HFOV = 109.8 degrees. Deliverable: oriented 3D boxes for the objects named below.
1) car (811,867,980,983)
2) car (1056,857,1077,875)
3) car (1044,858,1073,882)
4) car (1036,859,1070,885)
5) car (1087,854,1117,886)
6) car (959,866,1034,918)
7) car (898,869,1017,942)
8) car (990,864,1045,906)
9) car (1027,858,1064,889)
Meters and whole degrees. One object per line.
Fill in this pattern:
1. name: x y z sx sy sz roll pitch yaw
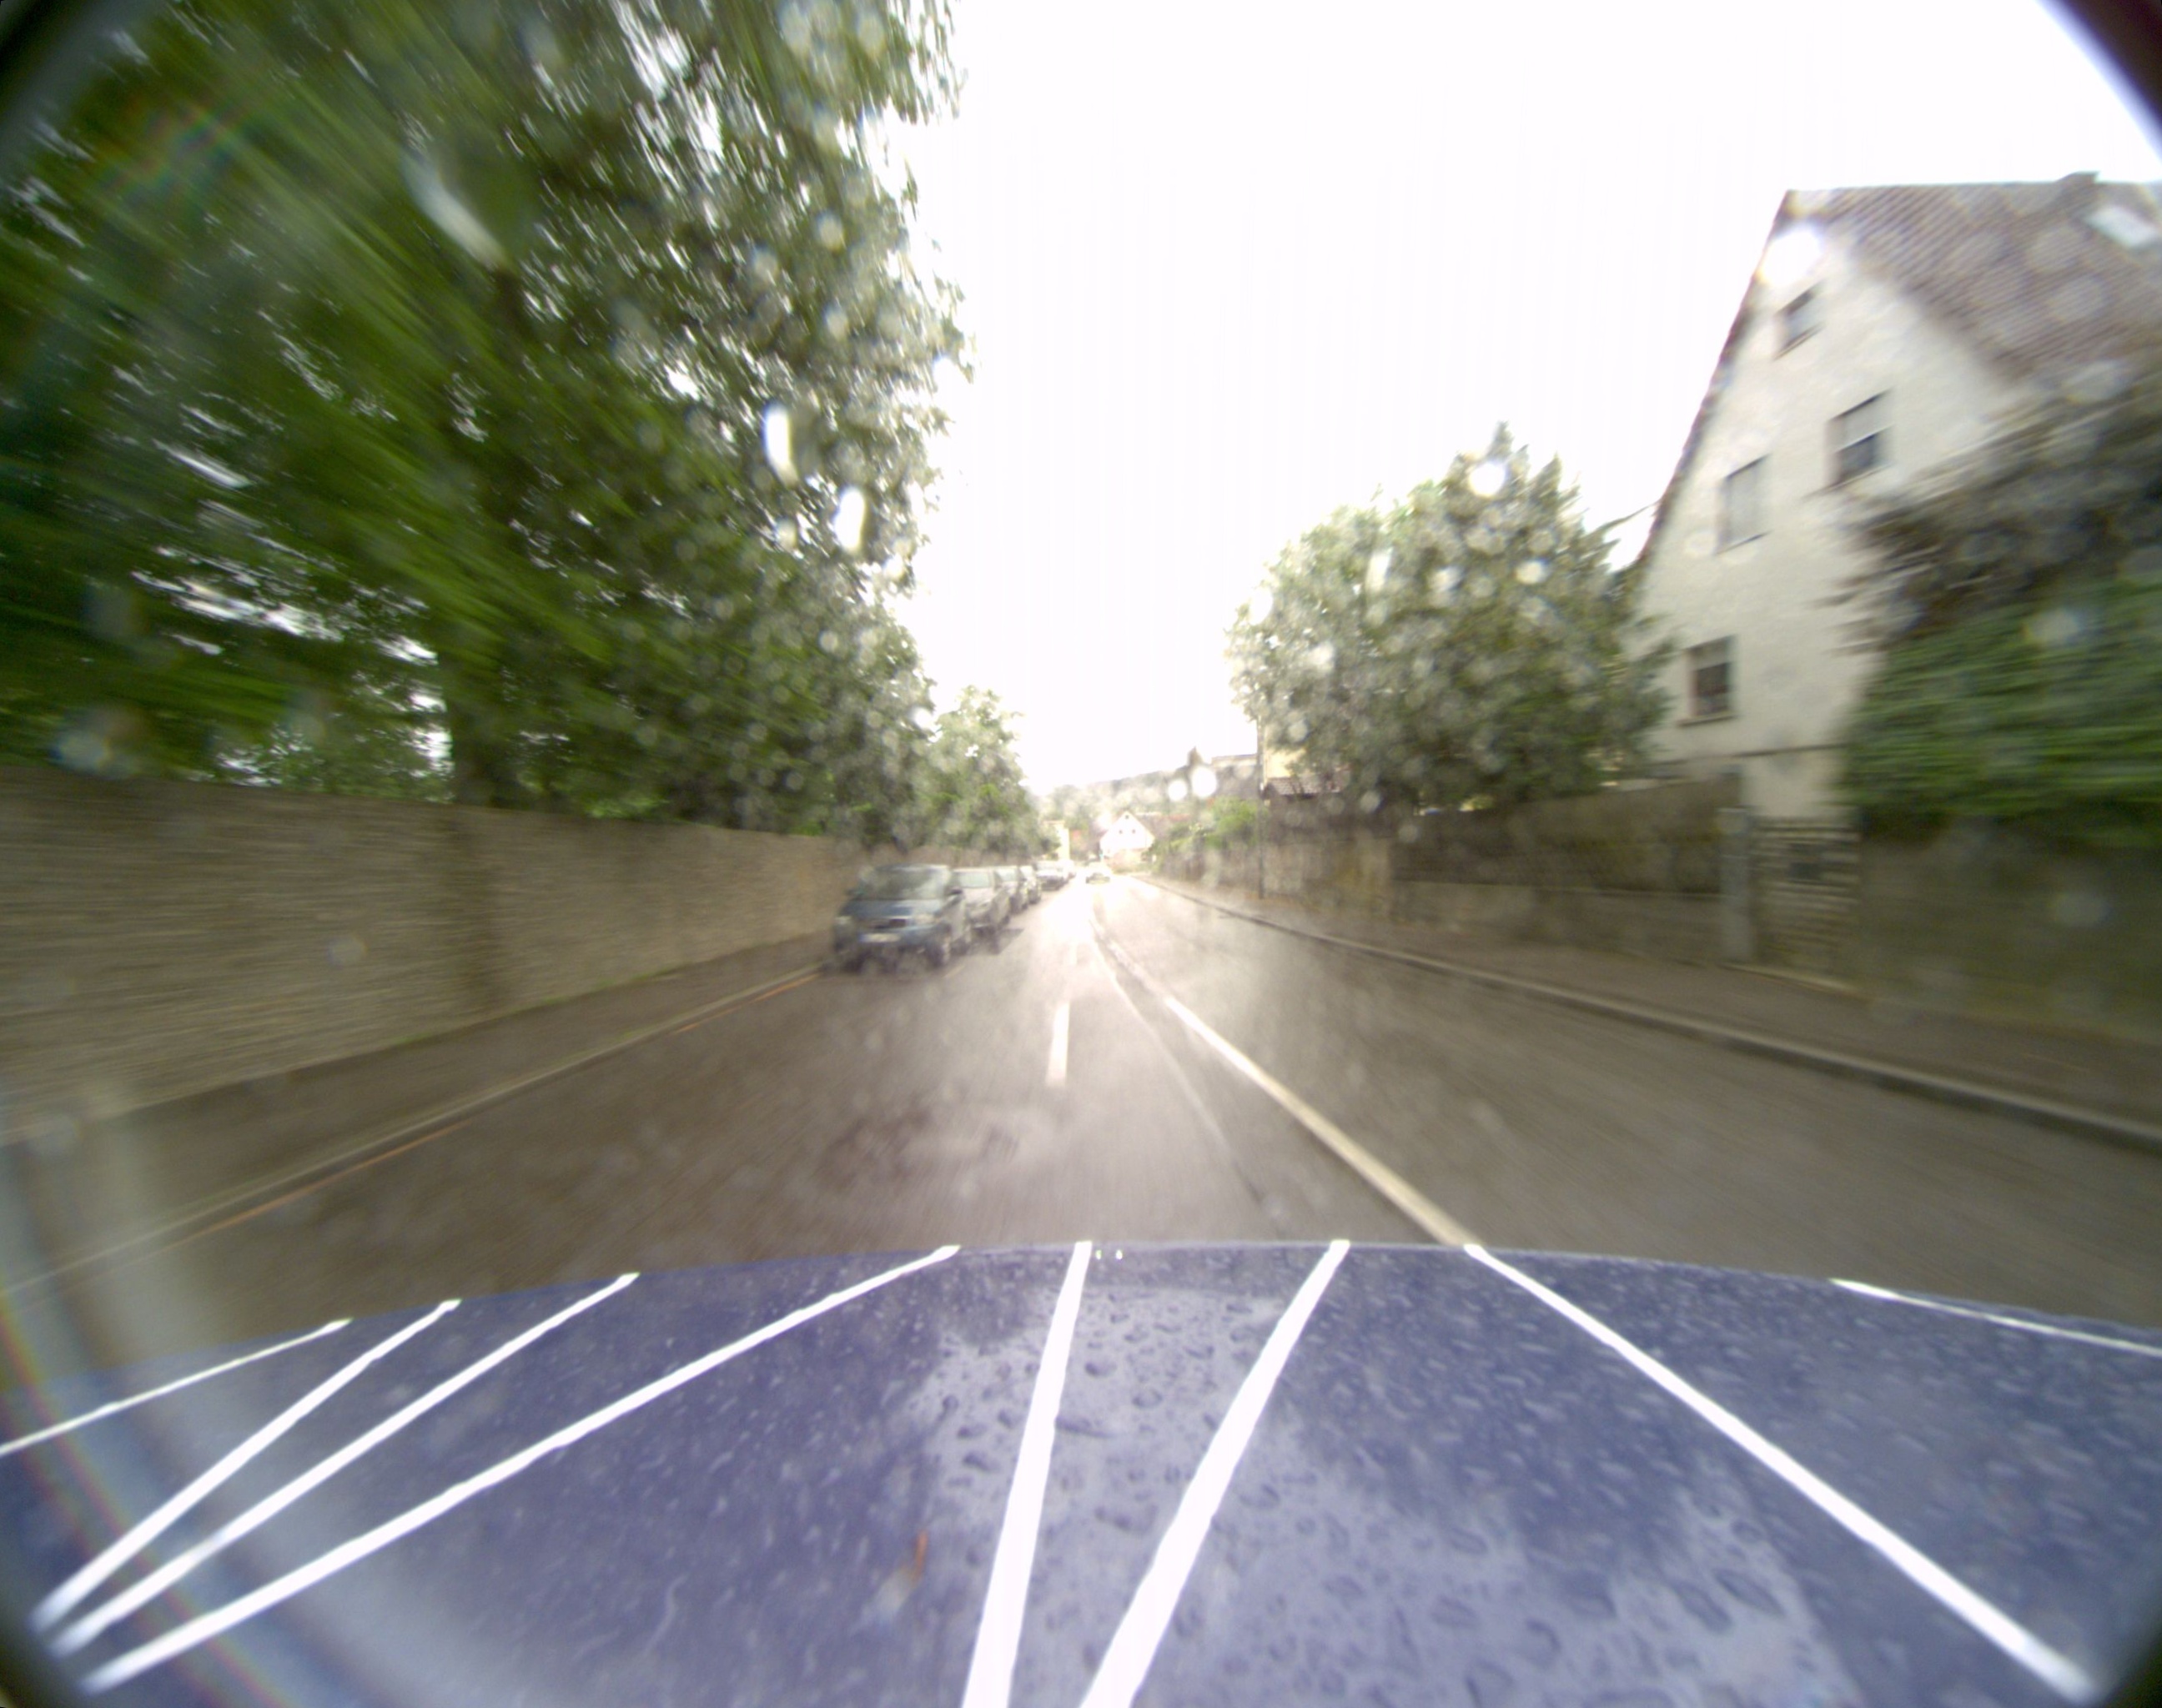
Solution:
1. car: -2.827 1.022 12.446 1.794 1.524 3.800 -1 0 0
2. car: -1.436 1.188 77.100 1.949 1.783 4.186 -1 0 1
3. car: -1.626 1.125 55.687 1.833 1.620 4.154 -1 0 2
4. car: -1.764 1.126 49.326 1.833 1.620 4.154 -1 0 2
5. car: 1.490 1.112 54.791 1.998 2.002 3.999 -3 1 0
6. car: -2.543 1.125 23.734 1.764 1.410 4.154 -1 0 1
7. car: -2.736 1.099 17.927 1.998 1.410 4.485 -1 0 1
8. car: -2.347 1.137 29.072 1.764 1.410 4.153 -1 0 -1
9. car: -1.973 1.079 43.003 1.833 1.620 4.153 -1 0 0
